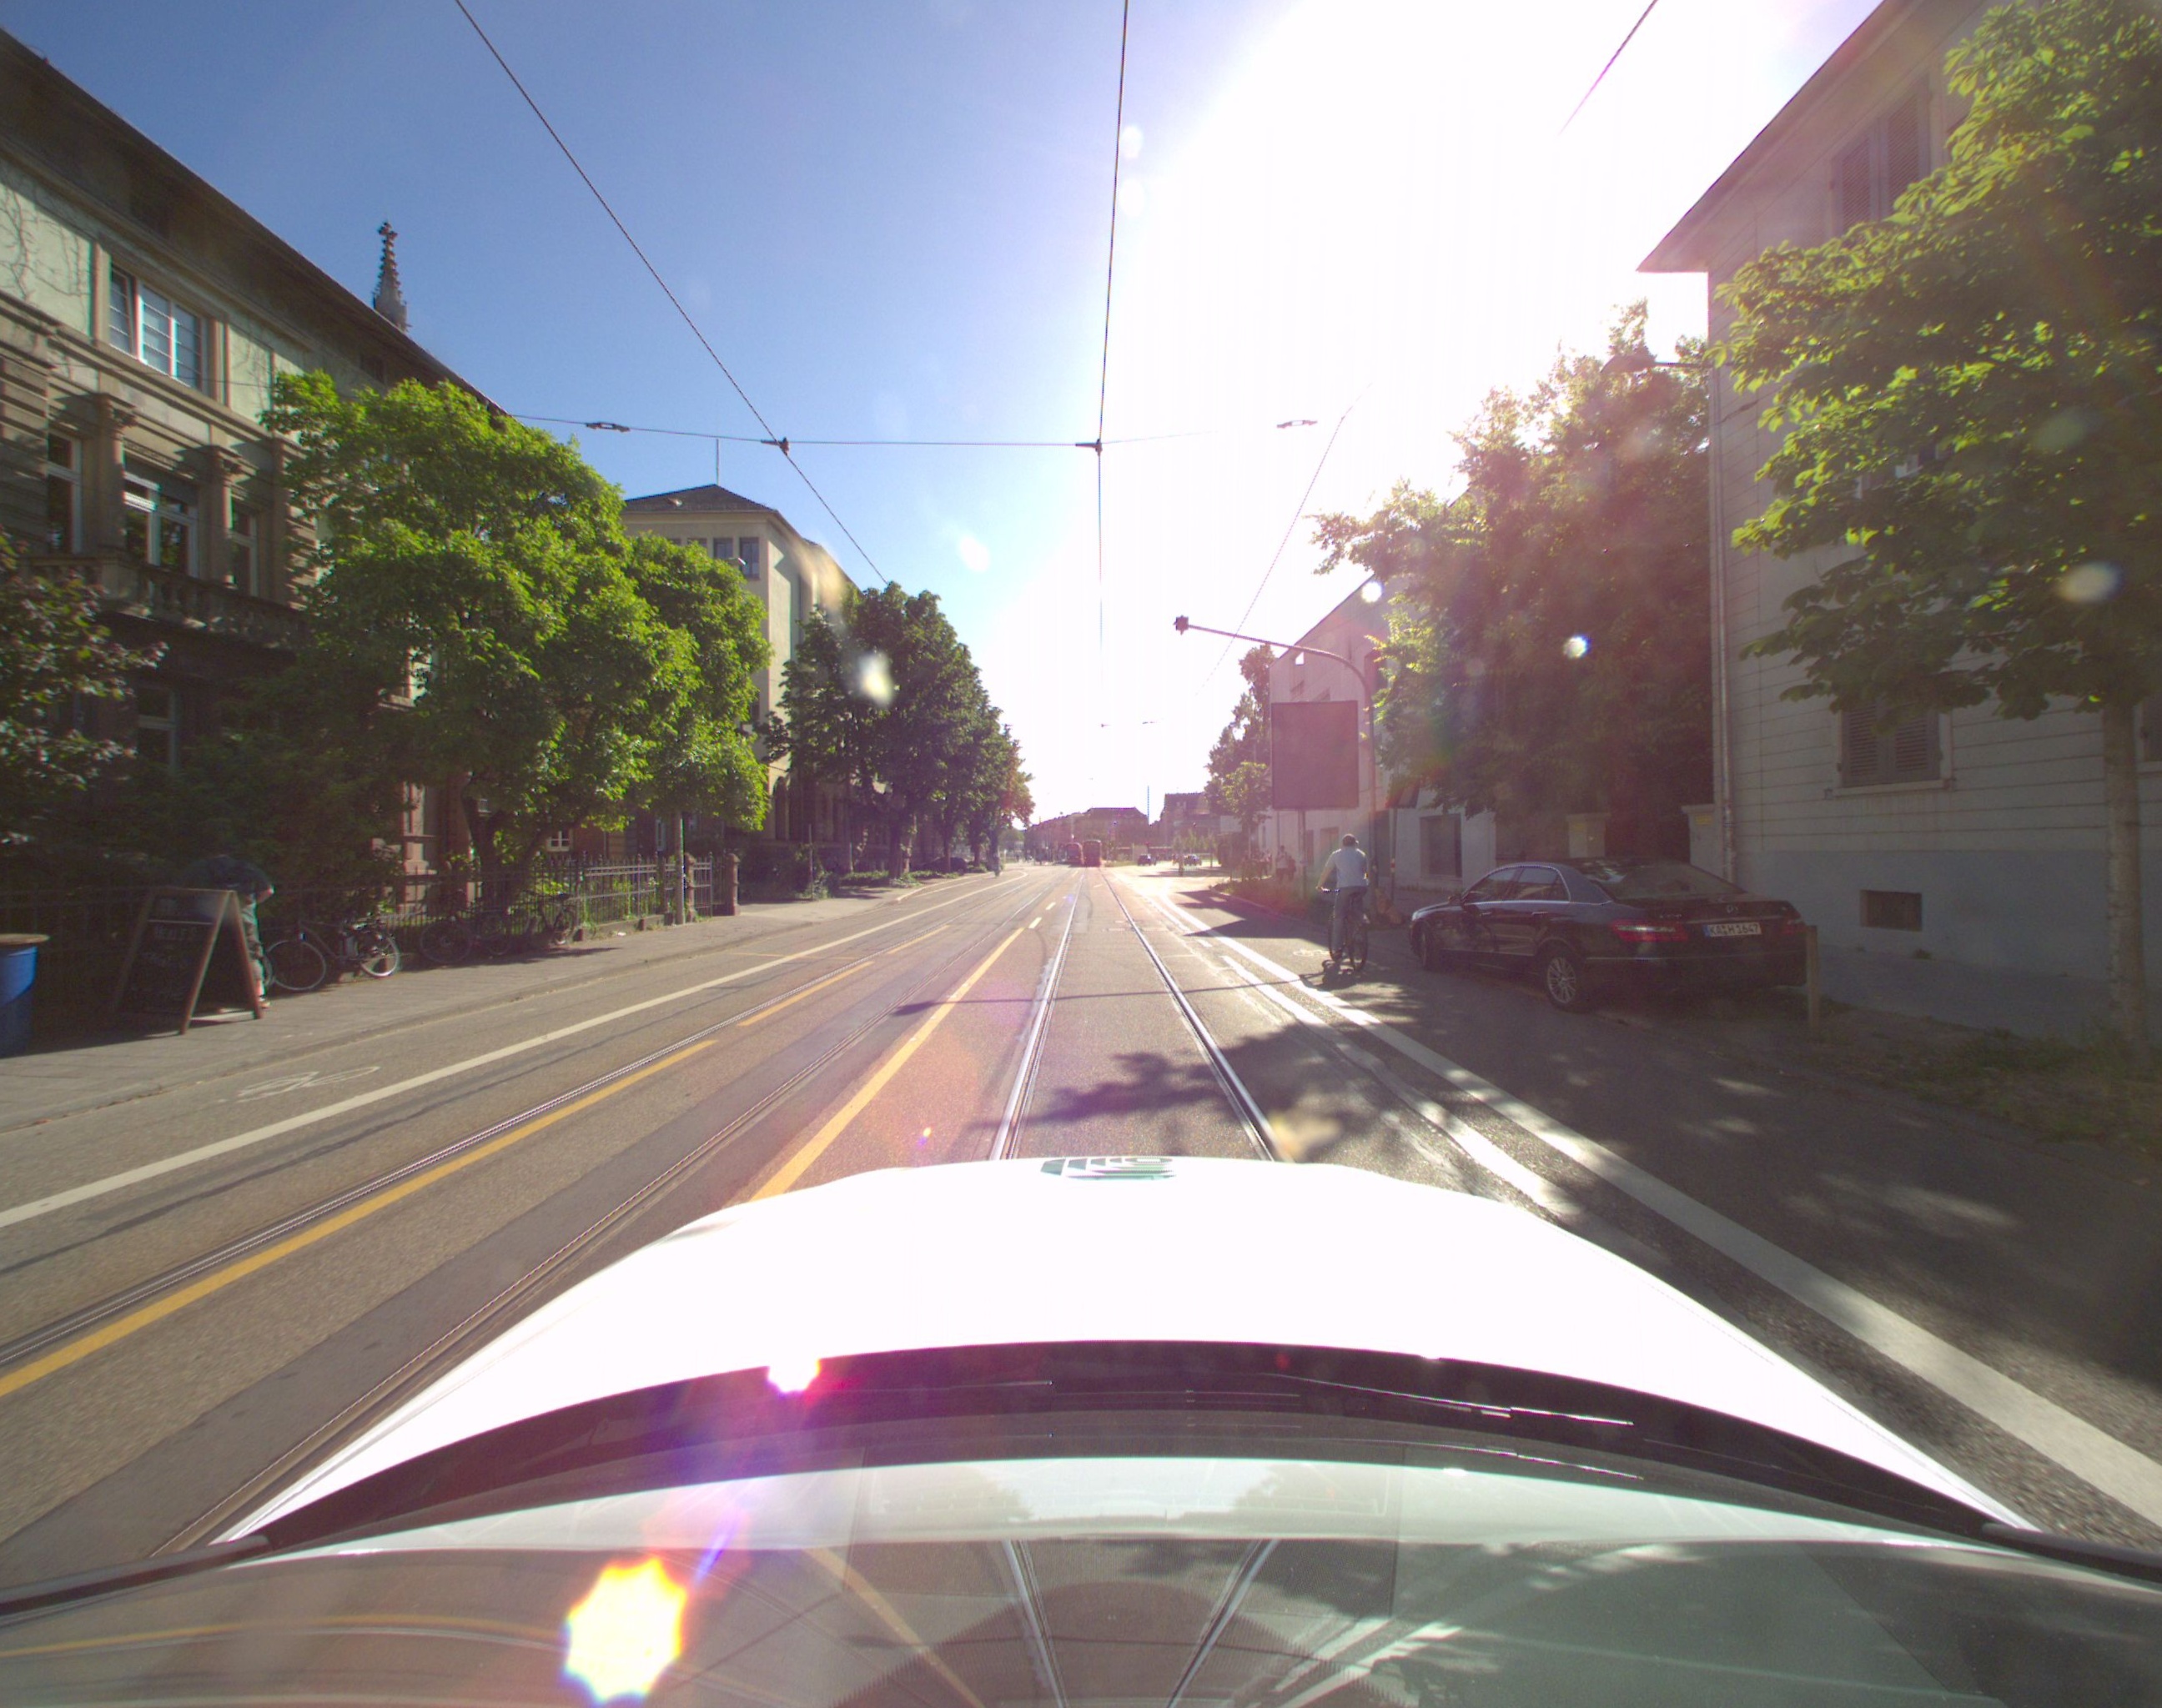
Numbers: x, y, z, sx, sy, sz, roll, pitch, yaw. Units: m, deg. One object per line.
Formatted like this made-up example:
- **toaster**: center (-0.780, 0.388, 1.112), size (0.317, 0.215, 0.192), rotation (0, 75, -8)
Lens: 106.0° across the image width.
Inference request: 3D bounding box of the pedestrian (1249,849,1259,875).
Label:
- **pedestrian**: center (12.983, 0.584, 61.113), size (0.515, 1.902, 0.613), rotation (-4, -1, 8)

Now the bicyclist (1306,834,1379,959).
- **bicyclist**: center (3.668, 0.575, 11.490), size (0.735, 1.686, 0.972), rotation (1, 0, 2)

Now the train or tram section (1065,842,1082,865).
- **train or tram section**: center (-1.206, -0.100, 136.229), size (2.733, 3.651, 13.783), rotation (0, 0, 0)

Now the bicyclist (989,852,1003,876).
- **bicyclist**: center (-6.105, 0.728, 58.629), size (0.683, 1.644, 1.239), rotation (-2, -1, 5)

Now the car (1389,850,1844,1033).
- **car**: center (5.430, 0.737, 9.264), size (1.817, 1.458, 4.813), rotation (-2, 0, -3)

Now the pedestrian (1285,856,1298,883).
- **pedestrian**: center (11.134, 0.800, 43.106), size (0.515, 1.404, 0.765), rotation (-1, -1, 3)

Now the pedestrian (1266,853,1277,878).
- **pedestrian**: center (14.020, 0.849, 60.063), size (0.605, 1.774, 0.656), rotation (-5, -1, 16)

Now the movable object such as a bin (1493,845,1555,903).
- **movable object such as a bin**: center (11.680, 0.516, 21.528), size (0.929, 1.463, 1.356), rotation (0, 0, 2)

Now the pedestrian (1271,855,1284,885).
- **pedestrian**: center (10.421, 0.847, 43.158), size (0.515, 1.600, 0.765), rotation (-1, -1, 3)

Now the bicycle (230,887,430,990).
- **bicycle**: center (-9.745, 1.045, 10.687), size (0.642, 1.143, 1.909), rotation (2, 0, 9)

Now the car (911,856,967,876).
- **car**: center (-11.189, 0.975, 64.286), size (4.008, 1.550, 1.861), rotation (1, -1, -27)

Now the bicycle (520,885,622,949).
- **bicycle**: center (-9.510, 1.144, 15.285), size (0.587, 1.045, 1.907), rotation (1, 0, 4)

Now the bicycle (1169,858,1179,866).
- **bicycle**: center (12.867, 1.074, 112.337), size (0.698, 1.055, 2.327), rotation (2, 1, 25)

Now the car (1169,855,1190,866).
- **car**: center (15.986, 1.054, 131.998), size (1.685, 1.643, 3.736), rotation (1, 0, 36)

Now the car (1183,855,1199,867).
- **car**: center (14.990, 0.949, 110.637), size (1.776, 1.511, 3.727), rotation (1, 0, 14)

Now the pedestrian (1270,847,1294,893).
- **pedestrian**: center (8.214, 0.642, 33.237), size (0.682, 1.849, 0.955), rotation (-2, 0, -1)

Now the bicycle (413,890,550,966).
- **bicycle**: center (-9.631, 1.154, 13.188), size (0.586, 1.045, 1.909), rotation (1, 0, 9)

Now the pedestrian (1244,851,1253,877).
- **pedestrian**: center (11.886, 0.702, 57.793), size (0.491, 1.728, 0.819), rotation (-5, -1, 15)

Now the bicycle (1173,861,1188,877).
- **bicycle**: center (7.236, 1.080, 59.263), size (0.699, 1.104, 1.726), rotation (1, 0, 20)

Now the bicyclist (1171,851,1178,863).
- **bicyclist**: center (12.881, 0.439, 112.311), size (0.698, 1.700, 0.993), rotation (2, 1, 25)

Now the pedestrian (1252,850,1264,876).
- **pedestrian**: center (12.531, 0.631, 57.724), size (0.642, 1.763, 0.960), rotation (-5, -1, 15)

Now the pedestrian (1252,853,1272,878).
- **pedestrian**: center (11.808, 0.743, 53.134), size (0.849, 1.641, 0.999), rotation (-3, -3, 42)

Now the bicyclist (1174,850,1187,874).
- **bicyclist**: center (7.242, 0.575, 59.262), size (0.699, 1.675, 1.107), rotation (1, 0, 20)

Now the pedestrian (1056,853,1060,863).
- **pedestrian**: center (-4.150, 0.770, 148.185), size (0.624, 1.827, 0.662), rotation (0, 0, -1)

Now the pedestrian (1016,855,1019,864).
- **pedestrian**: center (-13.541, 1.222, 173.361), size (0.522, 2.014, 0.523), rotation (-1, -1, 5)

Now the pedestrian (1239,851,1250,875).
- **pedestrian**: center (12.319, 0.681, 61.337), size (0.603, 1.746, 0.719), rotation (-4, -1, 8)

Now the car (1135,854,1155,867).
- **car**: center (8.624, 0.863, 109.531), size (1.774, 1.604, 3.731), rotation (1, 0, 19)

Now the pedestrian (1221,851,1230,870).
- **pedestrian**: center (14.631, 0.638, 82.321), size (0.635, 1.904, 1.135), rotation (-3, 0, 2)

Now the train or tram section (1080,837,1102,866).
- **train or tram section**: center (1.298, -0.319, 109.774), size (2.733, 3.651, 13.783), rotation (0, 0, 0)

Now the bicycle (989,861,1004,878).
- **bicycle**: center (-6.088, 1.110, 58.644), size (0.683, 1.124, 1.934), rotation (-2, 0, 5)

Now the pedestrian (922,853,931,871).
- **pedestrian**: center (-14.297, 0.780, 75.348), size (0.698, 1.635, 0.759), rotation (2, 0, 0)

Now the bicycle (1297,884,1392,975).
- **bicycle**: center (3.664, 1.006, 11.500), size (0.735, 1.094, 2.112), rotation (1, 0, 3)

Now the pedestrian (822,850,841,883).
- **pedestrian**: center (-13.962, 0.678, 45.648), size (0.726, 1.797, 0.781), rotation (2, -1, 3)

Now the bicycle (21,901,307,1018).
- **bicycle**: center (-10.115, 1.104, 9.120), size (0.632, 1.045, 2.031), rotation (0, 0, 17)

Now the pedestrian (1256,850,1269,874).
- **pedestrian**: center (13.488, 0.592, 60.481), size (0.523, 1.774, 0.740), rotation (-6, -1, 41)

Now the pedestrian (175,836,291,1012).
- **pedestrian**: center (-9.271, 0.732, 8.917), size (0.571, 1.831, 0.693), rotation (0, -1, 19)
